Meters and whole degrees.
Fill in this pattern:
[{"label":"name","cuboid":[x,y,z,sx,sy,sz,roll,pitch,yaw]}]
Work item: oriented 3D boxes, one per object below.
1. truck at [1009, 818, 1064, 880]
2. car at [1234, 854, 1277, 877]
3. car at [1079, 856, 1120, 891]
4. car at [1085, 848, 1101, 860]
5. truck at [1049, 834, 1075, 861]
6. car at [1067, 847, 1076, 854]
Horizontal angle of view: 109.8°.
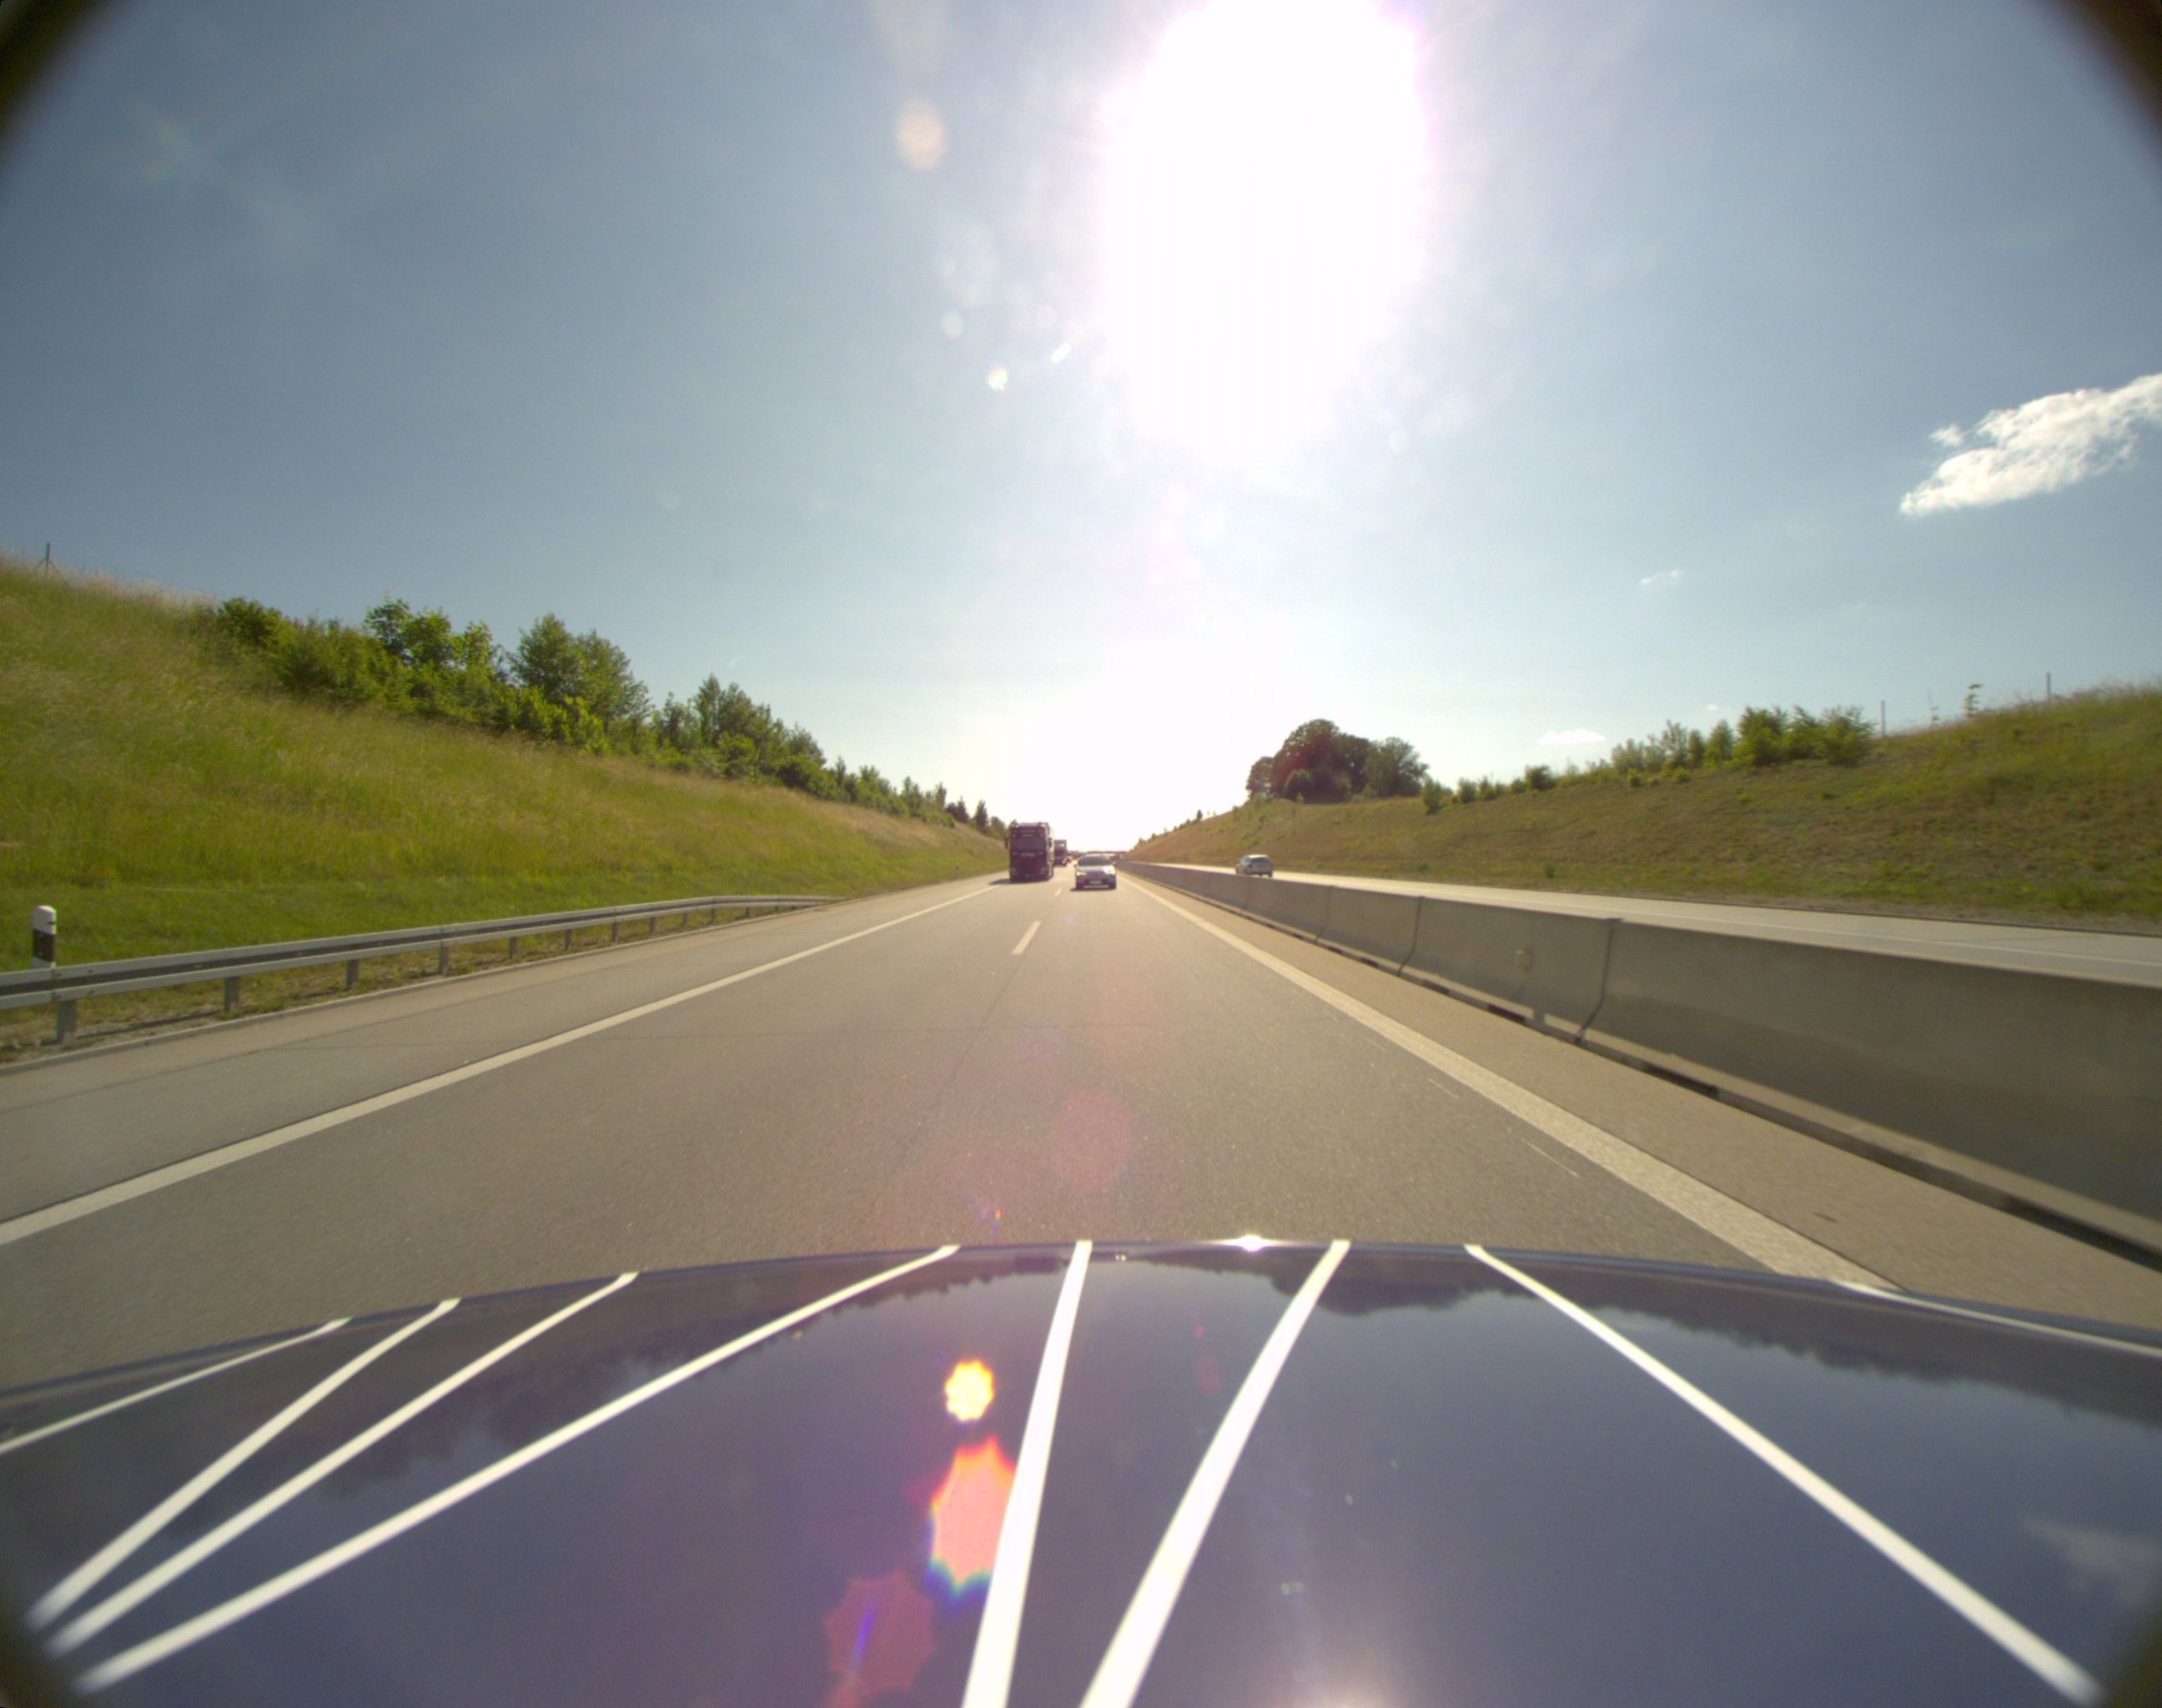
[{"label":"truck","cuboid":[-2.918,-0.339,54.079,2.623,3.795,13.404,-1,0,2]},{"label":"car","cuboid":[11.532,0.726,50.500,1.808,1.462,4.527,-1,0,1]},{"label":"car","cuboid":[0.863,0.873,35.437,1.795,1.501,3.635,-1,0,2]},{"label":"car","cuboid":[2.076,-0.001,134.084,2.816,2.143,5.946,1,0,0]},{"label":"truck","cuboid":[-2.759,-0.884,114.878,3.024,3.795,13.404,1,0,2]},{"label":"car","cuboid":[-2.191,-0.780,168.509,1.708,1.433,3.633,1,0,-4]}]
